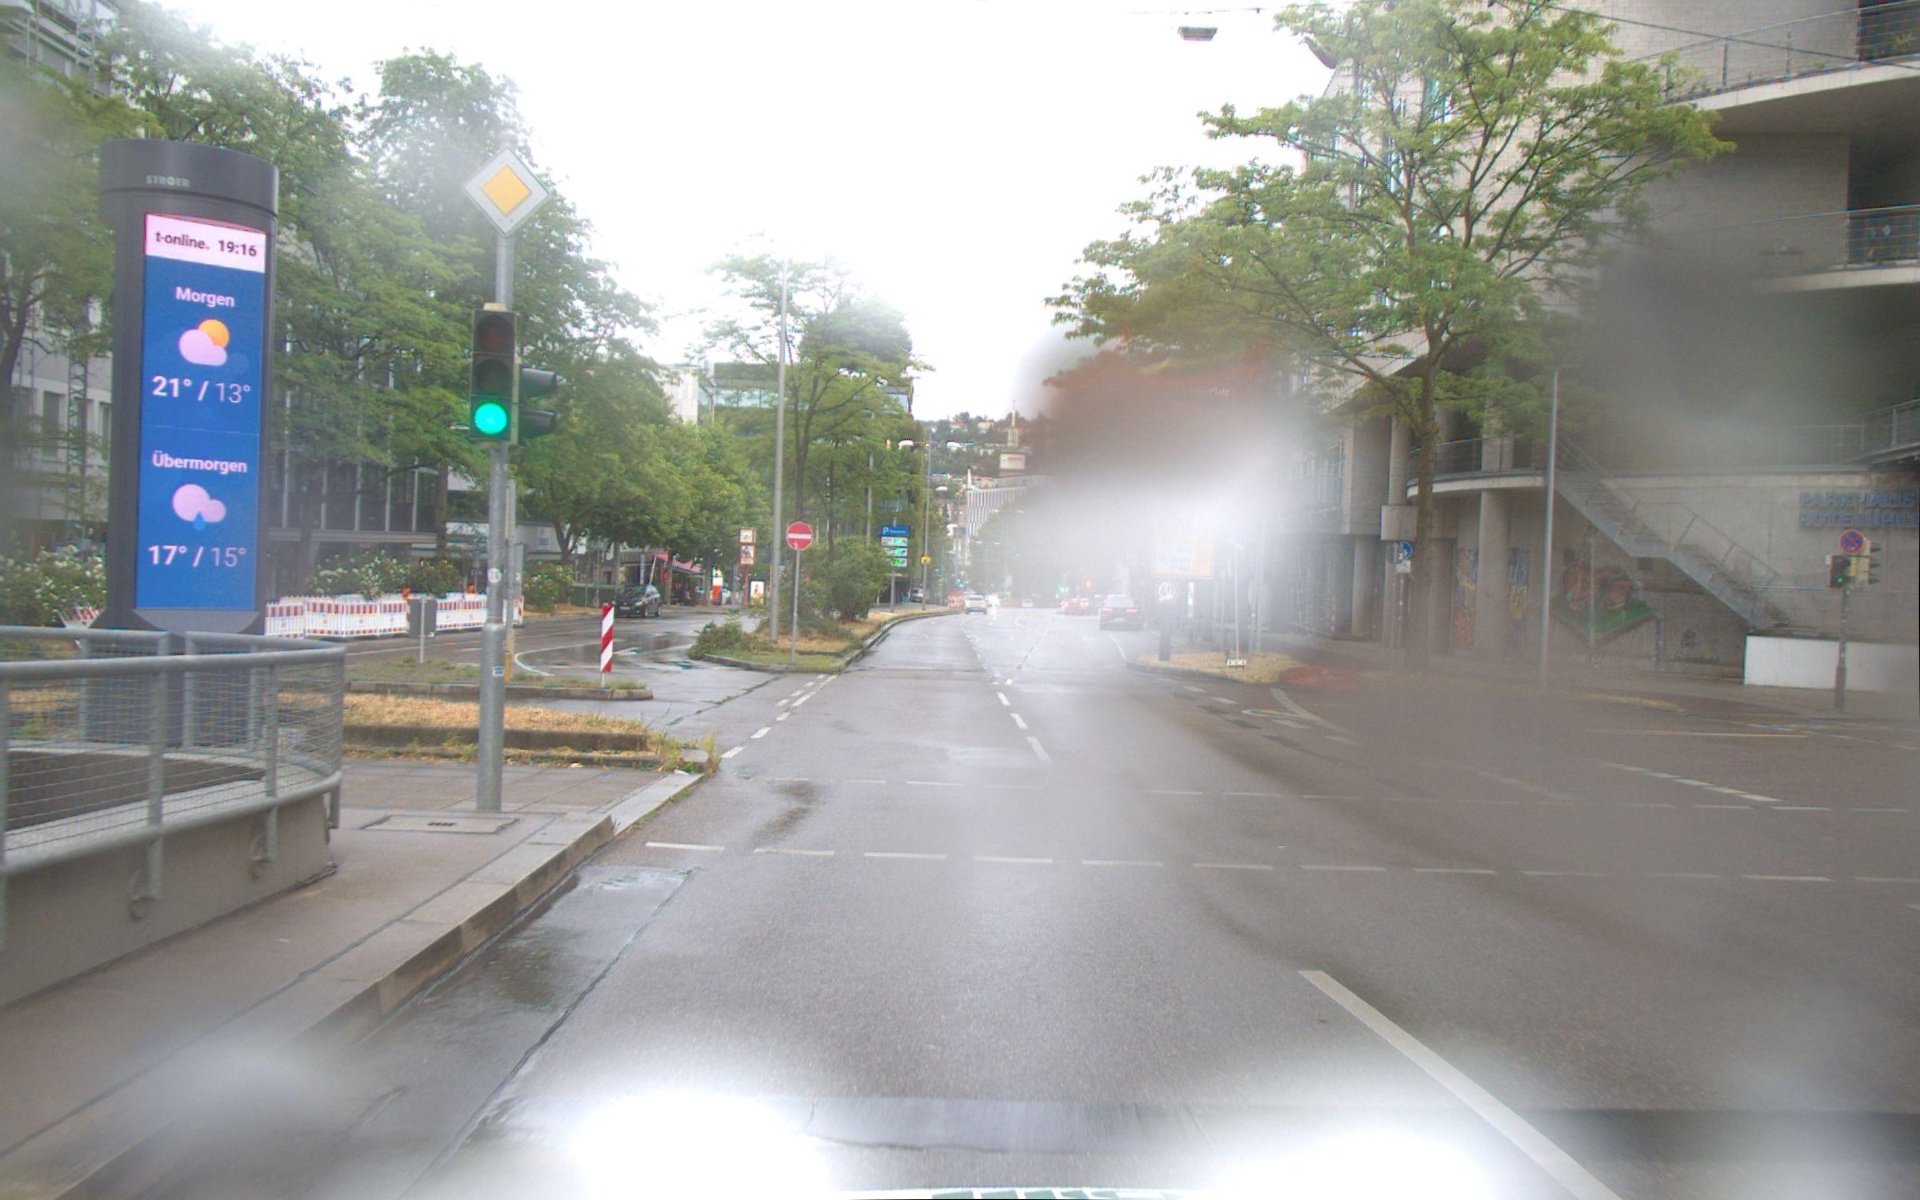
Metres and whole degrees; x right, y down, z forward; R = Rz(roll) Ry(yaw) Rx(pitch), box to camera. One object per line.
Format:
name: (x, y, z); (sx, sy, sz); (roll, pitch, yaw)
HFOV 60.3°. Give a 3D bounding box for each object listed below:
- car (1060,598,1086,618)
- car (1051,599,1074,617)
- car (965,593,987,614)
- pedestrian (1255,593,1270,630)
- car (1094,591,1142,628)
car: (10.487, 0.793, 153.601); (1.953, 1.754, 3.998); (1, -1, -2)
car: (10.207, 0.817, 164.680); (1.953, 1.766, 3.999); (1, -1, -1)
car: (1.409, 0.315, 145.249); (1.791, 1.668, 4.300); (3, -1, 0)
pedestrian: (16.480, 0.620, 90.028); (0.759, 1.954, 0.703); (1, -1, 9)
car: (7.778, 0.466, 81.264); (2.288, 1.721, 4.003); (1, 0, 6)
